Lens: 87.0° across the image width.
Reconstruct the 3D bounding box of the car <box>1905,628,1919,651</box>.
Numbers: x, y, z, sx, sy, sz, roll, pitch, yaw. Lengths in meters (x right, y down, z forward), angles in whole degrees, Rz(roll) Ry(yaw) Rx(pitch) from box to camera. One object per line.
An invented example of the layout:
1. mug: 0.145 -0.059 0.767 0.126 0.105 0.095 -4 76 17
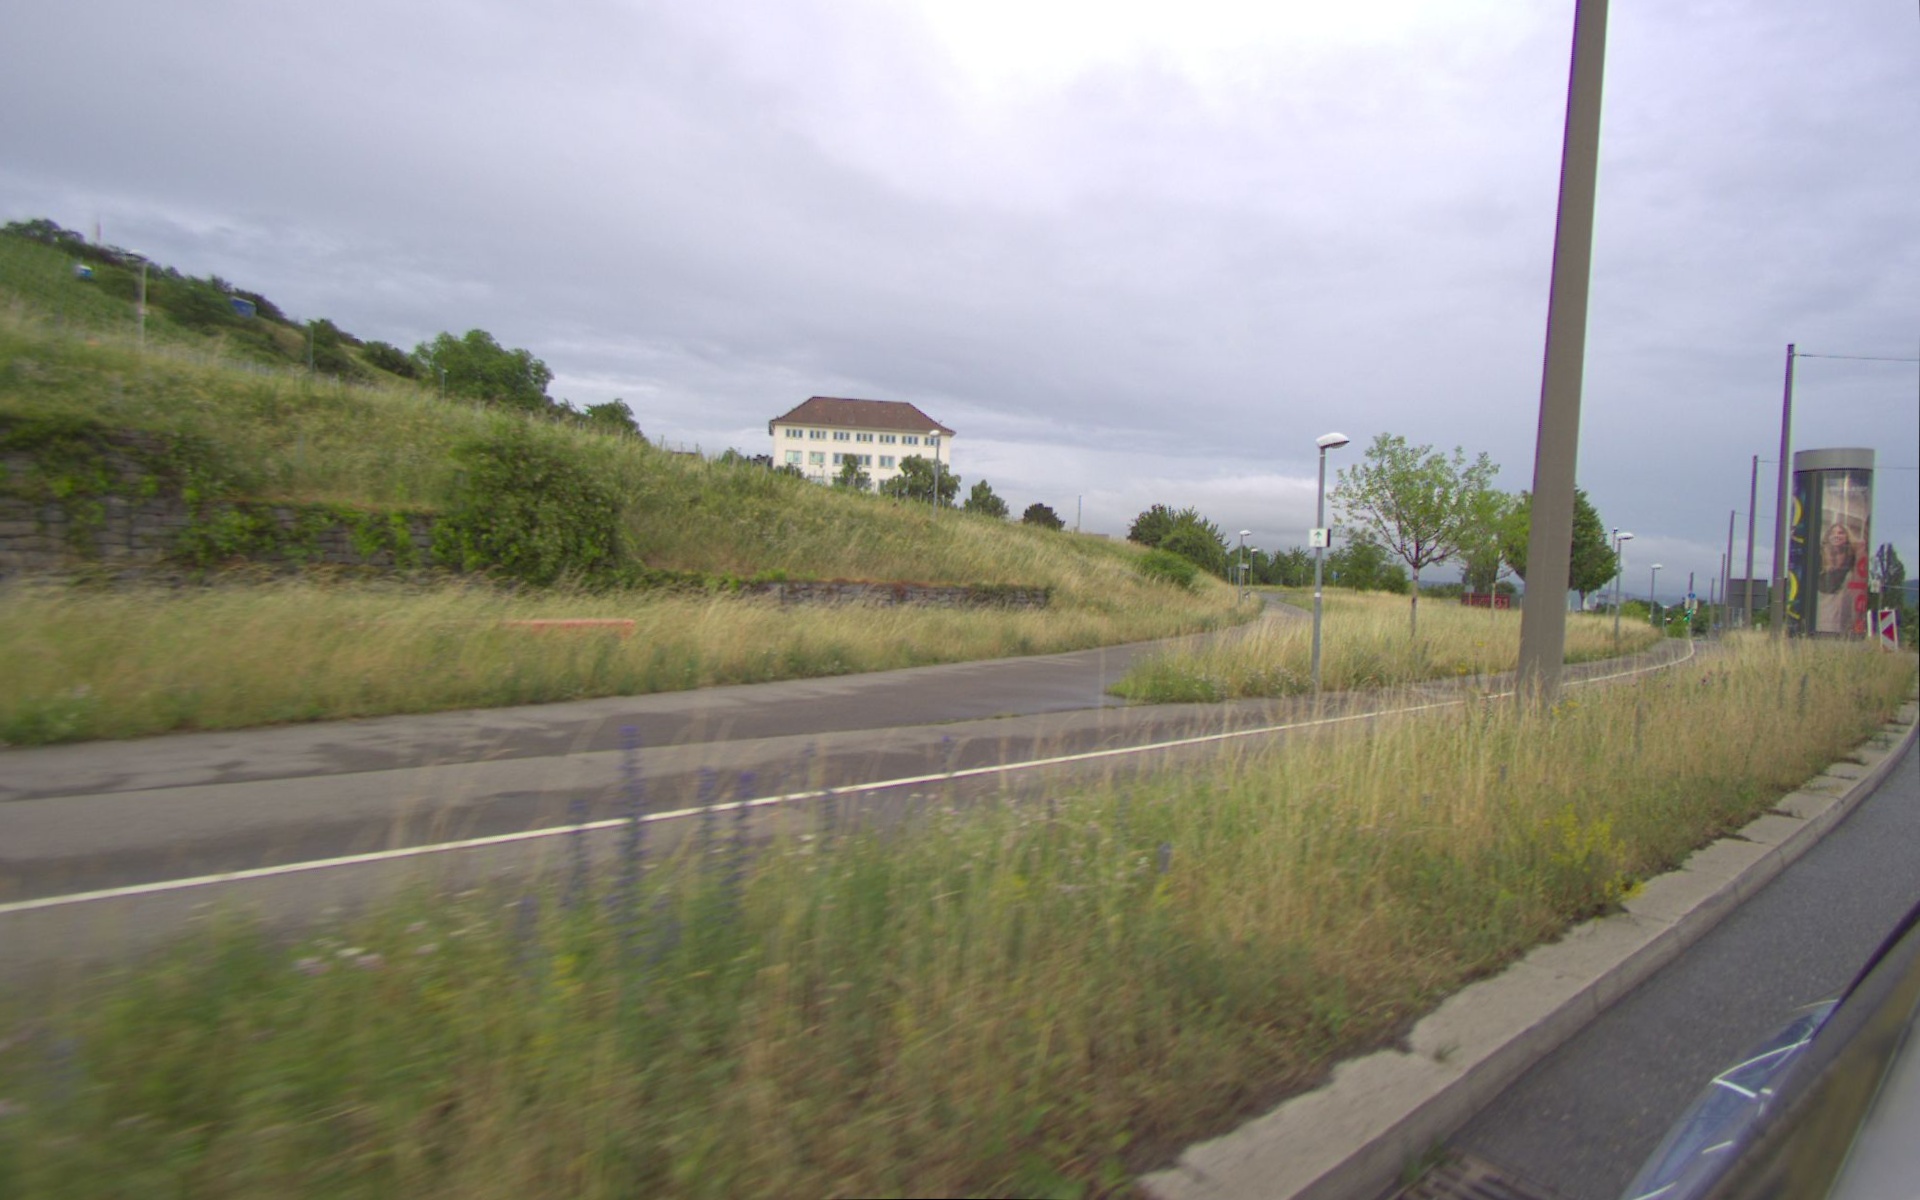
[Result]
1. car: 74.059 3.065 77.227 1.986 1.664 4.571 0 -3 33
